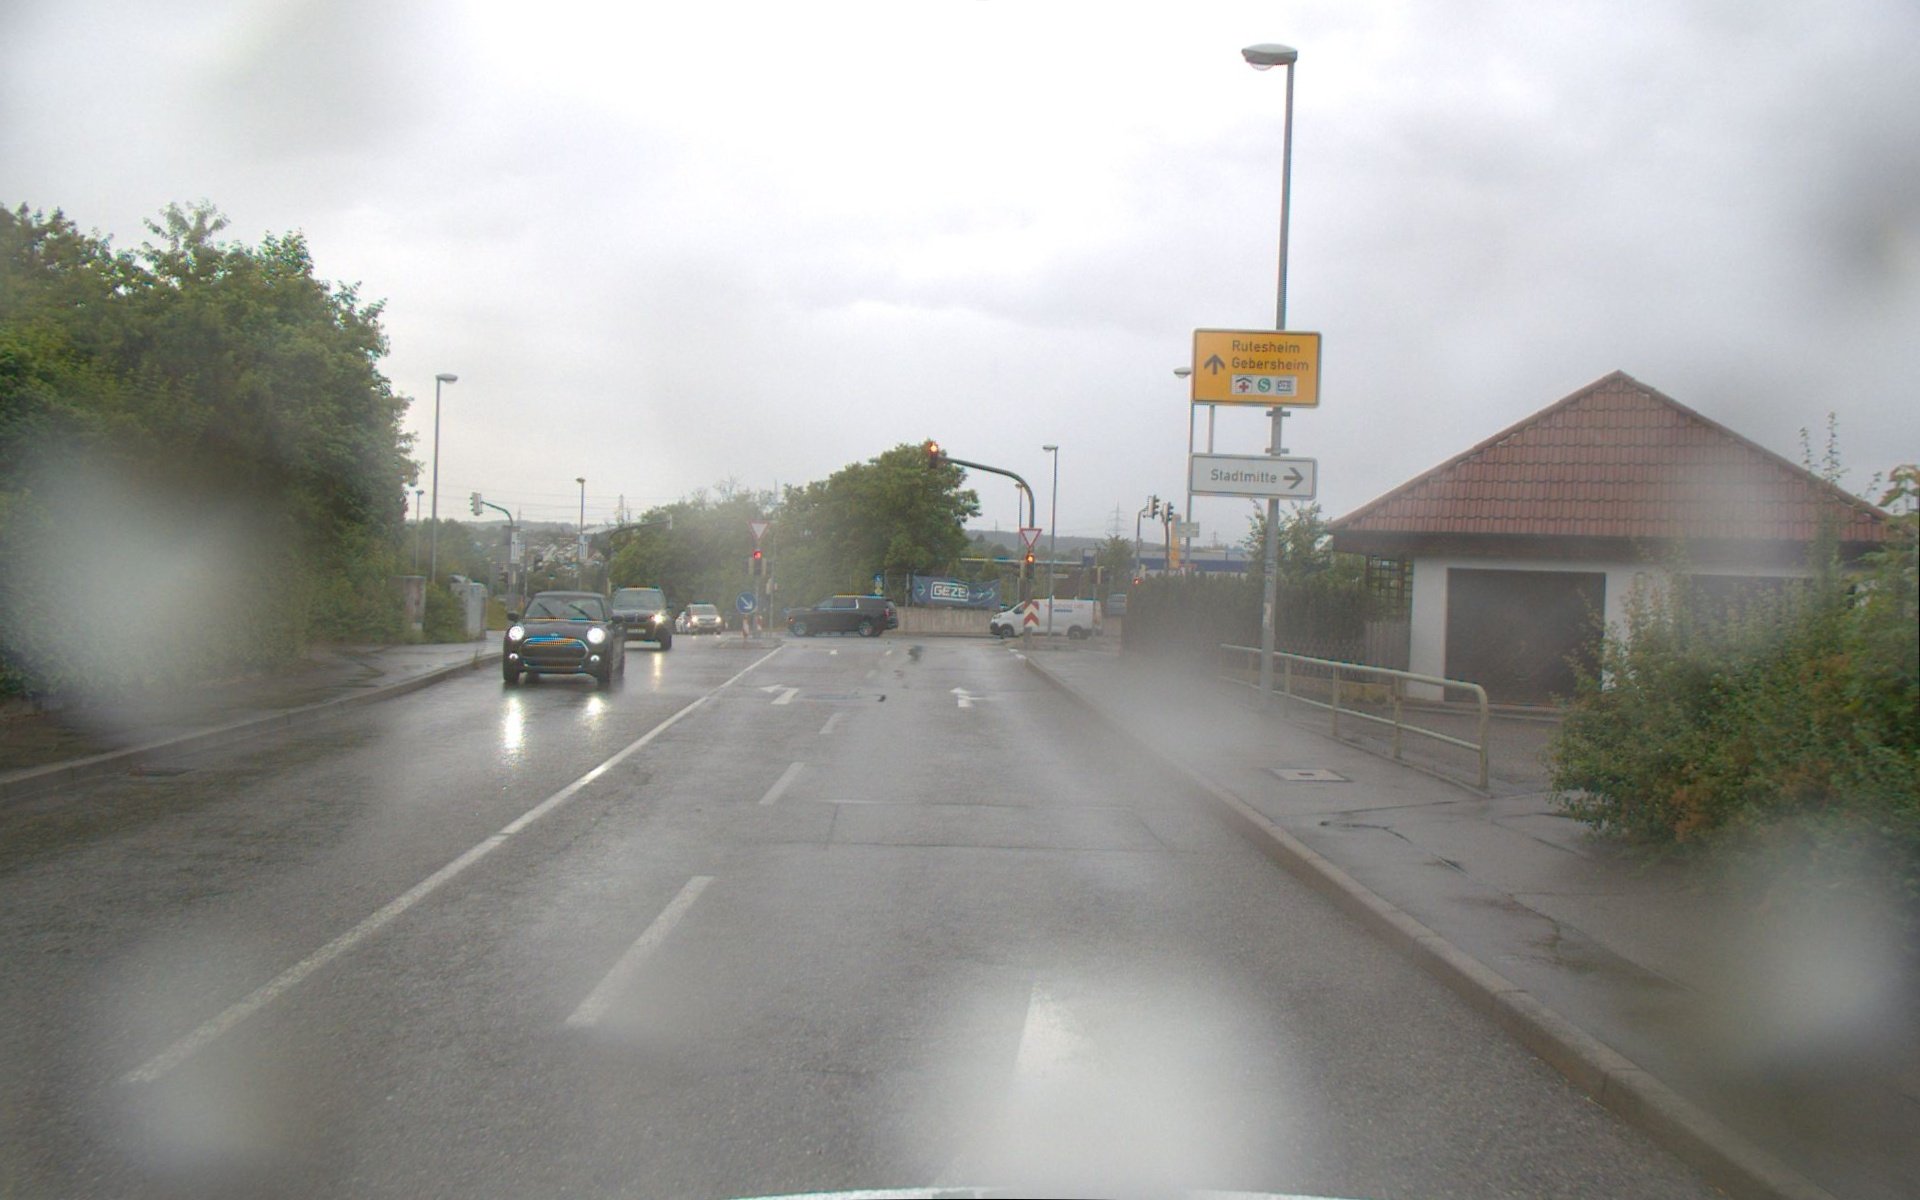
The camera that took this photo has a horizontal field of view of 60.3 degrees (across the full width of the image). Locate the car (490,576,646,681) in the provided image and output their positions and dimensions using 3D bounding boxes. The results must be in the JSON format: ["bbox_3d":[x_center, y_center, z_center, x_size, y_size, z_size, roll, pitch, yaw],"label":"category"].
[{"bbox_3d":[-6.398,0.408,27.384,1.769,1.550,3.998,2,1,-3],"label":"car"}]

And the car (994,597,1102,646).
[{"bbox_3d":[4.083,0.962,76.212,4.754,2.049,1.779,2,1,8],"label":"car"}]

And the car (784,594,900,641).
[{"bbox_3d":[-5.779,0.856,81.386,5.350,2.048,2.002,-2,0,8],"label":"car"}]

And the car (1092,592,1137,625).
[{"bbox_3d":[10.141,0.512,108.119,1.952,2.048,4.001,2,1,20],"label":"car"}]

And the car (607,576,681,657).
[{"bbox_3d":[-8.580,0.403,45.186,1.738,2.048,3.993,2,1,-8],"label":"car"}]

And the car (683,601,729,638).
[{"bbox_3d":[-15.054,1.137,97.829,1.964,2.049,3.976,-1,1,-20],"label":"car"}]
